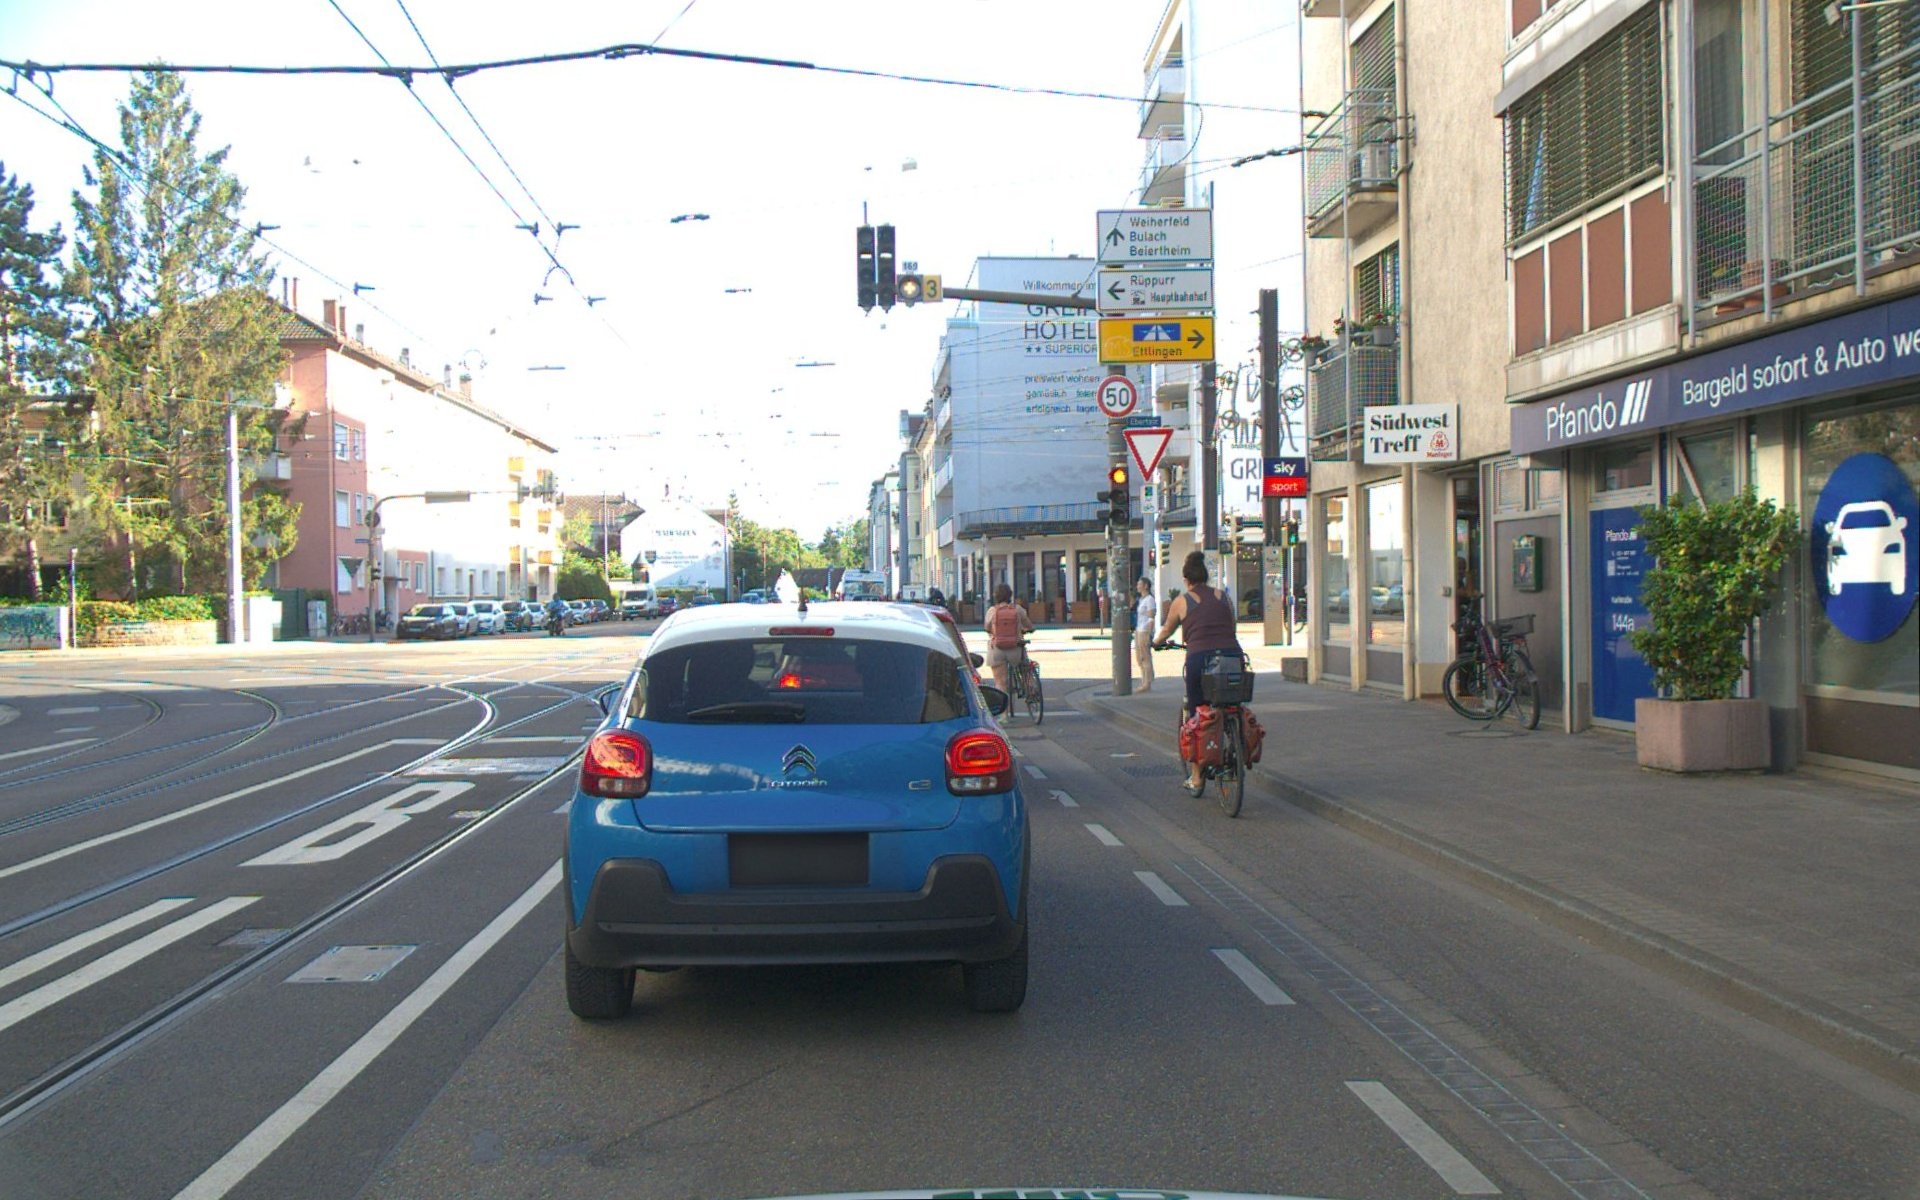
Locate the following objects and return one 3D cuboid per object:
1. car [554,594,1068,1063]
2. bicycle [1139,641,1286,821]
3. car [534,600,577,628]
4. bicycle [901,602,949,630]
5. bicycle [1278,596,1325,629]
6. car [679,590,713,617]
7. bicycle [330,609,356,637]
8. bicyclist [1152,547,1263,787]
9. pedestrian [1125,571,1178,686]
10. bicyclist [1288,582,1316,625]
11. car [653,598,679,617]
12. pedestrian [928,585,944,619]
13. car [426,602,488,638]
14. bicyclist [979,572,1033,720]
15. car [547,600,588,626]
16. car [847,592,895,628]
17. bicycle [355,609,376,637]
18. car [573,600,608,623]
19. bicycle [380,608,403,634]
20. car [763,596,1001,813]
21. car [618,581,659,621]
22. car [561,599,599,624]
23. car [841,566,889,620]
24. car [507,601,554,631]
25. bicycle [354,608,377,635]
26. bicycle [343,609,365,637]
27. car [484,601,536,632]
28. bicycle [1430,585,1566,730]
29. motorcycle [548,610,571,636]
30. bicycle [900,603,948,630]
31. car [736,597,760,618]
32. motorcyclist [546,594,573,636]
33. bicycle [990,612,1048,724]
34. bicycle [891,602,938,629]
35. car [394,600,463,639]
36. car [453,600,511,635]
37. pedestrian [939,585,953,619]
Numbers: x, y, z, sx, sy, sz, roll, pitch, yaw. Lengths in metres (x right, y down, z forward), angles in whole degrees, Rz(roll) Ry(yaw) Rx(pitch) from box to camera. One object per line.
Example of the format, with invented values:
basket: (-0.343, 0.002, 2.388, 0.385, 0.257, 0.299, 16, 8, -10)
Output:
car: (-0.615, 0.734, 7.359, 1.647, 1.488, 3.997, 1, 0, -4)
bicycle: (1.777, 0.888, 11.907, 0.605, 1.123, 1.884, -1, 0, -5)
car: (-23.937, 0.817, 98.002, 1.913, 1.545, 3.995, -1, 0, -6)
bicycle: (-1.396, 0.640, 65.788, 1.868, 1.083, 0.641, -1, 0, -8)
bicycle: (11.766, 0.445, 56.957, 1.464, 1.110, 0.603, -1, 0, 37)
car: (-17.001, 0.212, 106.752, 1.967, 1.656, 5.045, -1, 0, -7)
bicycle: (-24.985, 0.914, 67.000, 0.628, 1.101, 1.905, -1, 0, -11)
bicyclist: (1.766, 0.461, 11.889, 0.605, 1.658, 0.759, -1, 0, -5)
pedestrian: (2.822, 0.415, 24.416, 0.735, 1.663, 0.740, -1, 0, 5)
bicyclist: (11.769, 0.114, 56.933, 0.715, 1.459, 0.603, -1, 0, 37)
car: (-25.576, 0.636, 144.175, 1.913, 1.545, 3.995, -1, 0, -6)
pedestrian: (-1.013, 0.089, 70.247, 0.514, 1.445, 0.547, -1, 0, 19)
car: (-22.556, 0.872, 74.265, 1.913, 1.545, 4.040, -1, 0, -6)
bicyclist: (0.565, 0.554, 20.604, 0.588, 1.776, 1.084, -1, 0, -1)
car: (-24.411, 0.802, 102.999, 1.913, 1.545, 3.995, -1, 0, -6)
car: (-3.679, 0.383, 67.748, 1.752, 1.383, 3.909, -1, 0, -6)
bicycle: (-24.233, 0.931, 67.425, 0.527, 1.101, 1.905, -1, 0, -11)
car: (-25.569, 0.782, 114.602, 1.913, 1.545, 3.995, -1, 0, -6)
bicycle: (-25.675, 0.936, 74.701, 0.597, 1.101, 1.908, -1, 0, -7)
car: (-0.682, 0.729, 13.568, 1.647, 1.488, 3.997, 1, 0, -4)
car: (-23.226, 0.061, 119.586, 2.446, 2.759, 5.828, -1, 0, -7)
car: (-24.853, 0.743, 108.272, 1.913, 1.545, 3.995, -1, 0, -6)
car: (-4.234, -0.319, 73.187, 2.039, 2.309, 5.646, 0, 0, -4)
car: (-23.766, 0.850, 91.577, 1.913, 1.545, 3.995, -1, 0, -6)
bicycle: (-25.877, 0.922, 71.996, 0.527, 1.101, 1.908, -1, 0, -7)
bicycle: (-24.591, 0.924, 67.125, 0.527, 1.101, 1.905, -1, 0, -11)
car: (-23.236, 0.835, 85.527, 1.913, 1.545, 3.995, -1, 0, -6)
bicycle: (5.110, 0.508, 15.828, 0.627, 1.286, 1.910, -1, 0, -1)
motorcycle: (-16.228, 0.937, 67.029, 0.738, 0.993, 2.092, -1, 0, -9)
bicycle: (-1.449, 0.665, 67.093, 1.868, 1.083, 0.641, -1, 0, -8)
car: (-21.813, 0.800, 170.501, 2.293, 2.074, 5.044, -1, 0, -6)
motorcyclist: (-16.208, 0.604, 66.961, 0.973, 1.659, 0.737, -1, 0, -10)
bicycle: (0.718, 0.817, 20.645, 0.601, 1.286, 1.910, -1, 0, -1)
bicycle: (-1.863, 0.642, 68.279, 1.868, 1.083, 0.641, -1, 0, -8)
car: (-22.017, 0.787, 68.660, 1.913, 1.545, 3.995, -1, 0, -6)
car: (-22.758, 0.815, 78.870, 1.913, 1.545, 3.995, -1, 0, -6)
pedestrian: (-0.588, 0.084, 70.002, 0.459, 1.445, 0.525, -1, 0, -13)
